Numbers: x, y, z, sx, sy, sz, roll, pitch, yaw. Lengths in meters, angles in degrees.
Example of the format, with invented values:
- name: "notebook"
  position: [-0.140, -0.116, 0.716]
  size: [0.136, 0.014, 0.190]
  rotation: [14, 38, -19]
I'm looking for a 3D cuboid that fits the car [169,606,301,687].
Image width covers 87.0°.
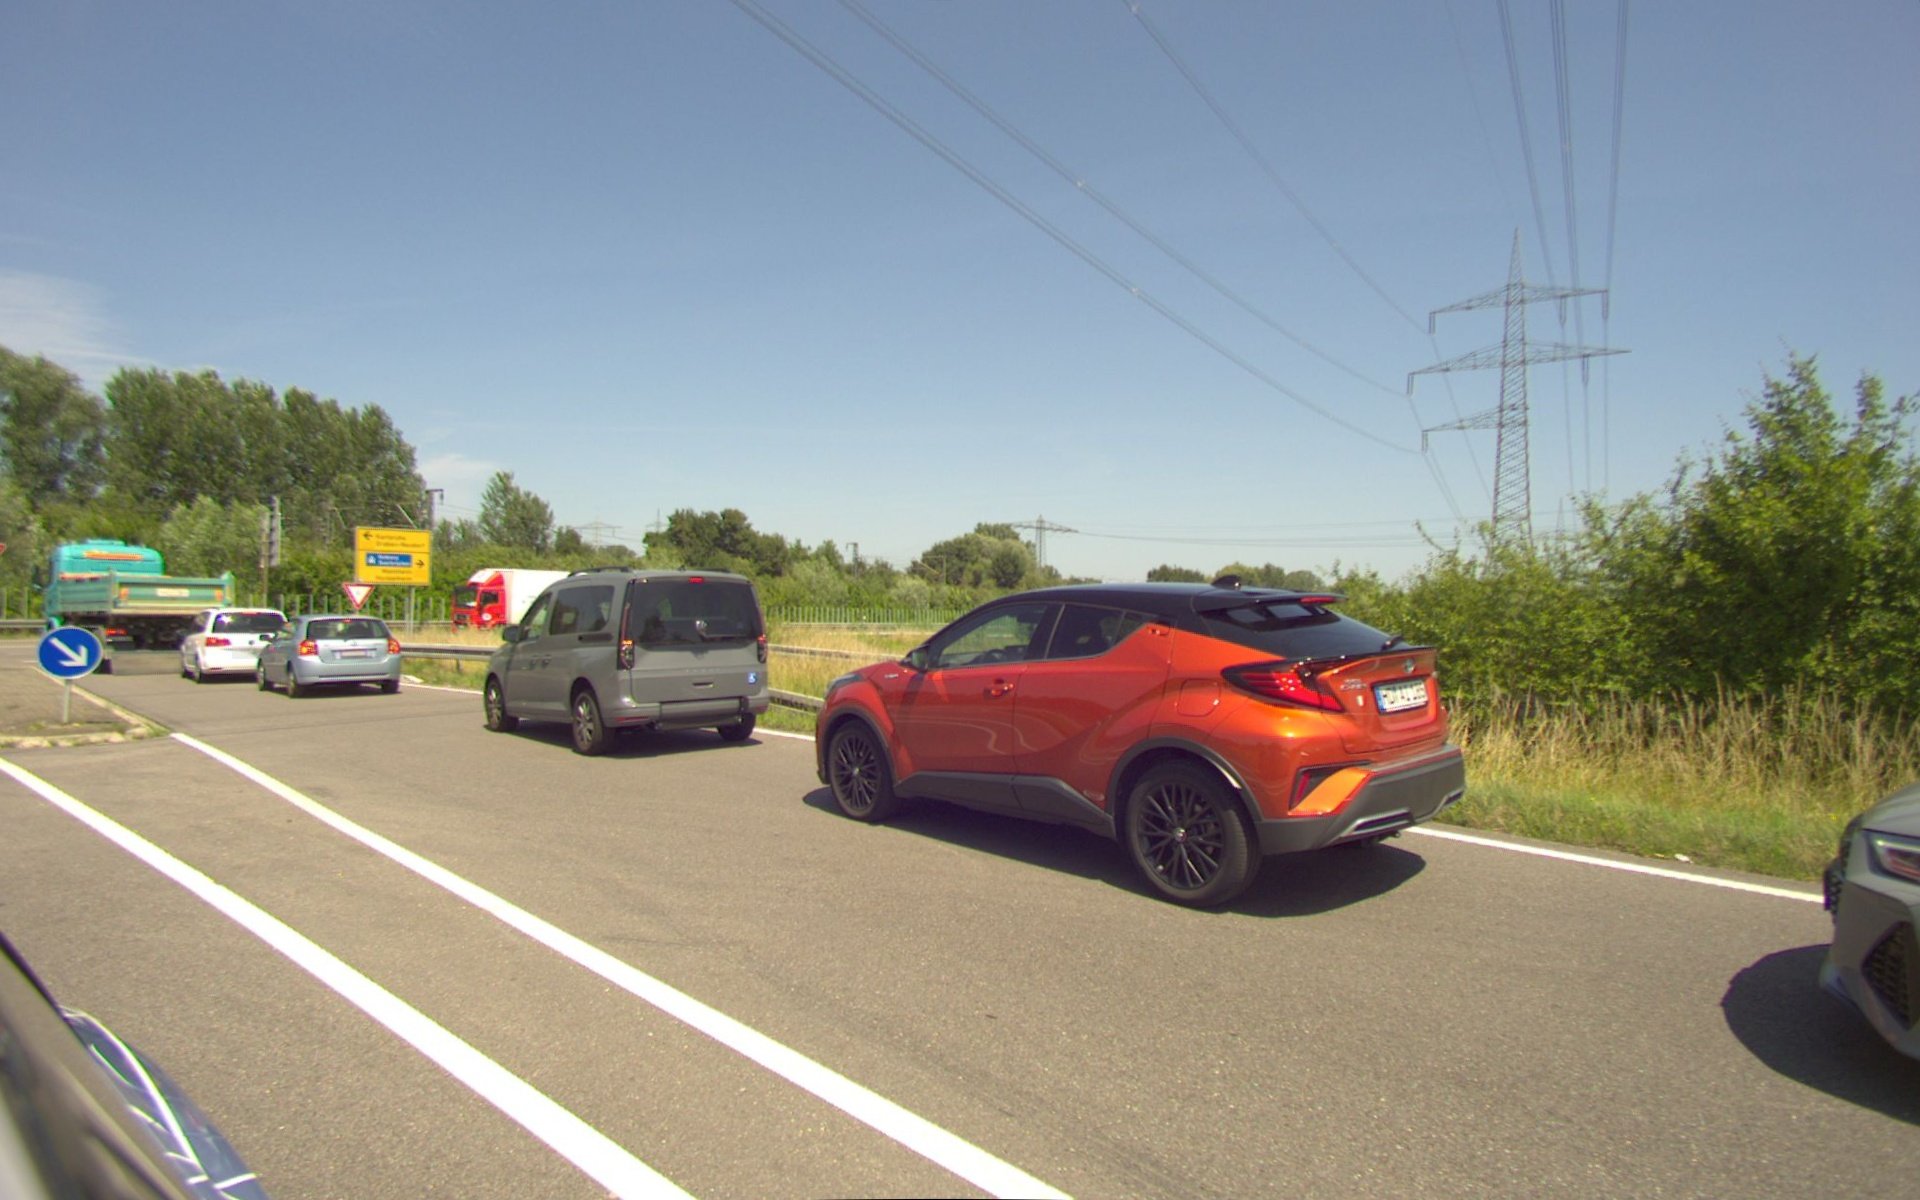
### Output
- name: "car"
  position: [-16.406, 0.998, 22.821]
  size: [1.752, 1.633, 4.333]
  rotation: [-1, -1, -45]

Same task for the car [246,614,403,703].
- name: "car"
  position: [-11.799, 1.012, 18.684]
  size: [1.613, 1.470, 4.010]
  rotation: [1, -2, -45]

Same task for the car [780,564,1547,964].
- name: "car"
  position: [0.812, 0.611, 6.124]
  size: [1.776, 1.527, 4.399]
  rotation: [-2, 1, -40]

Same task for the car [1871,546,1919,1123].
- name: "car"
  position: [4.623, 0.596, 1.389]
  size: [1.818, 1.471, 4.817]
  rotation: [0, 0, -40]

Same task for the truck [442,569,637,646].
- name: "truck"
  position: [-21.319, 0.337, 52.078]
  size: [2.717, 3.606, 9.451]
  rotation: [0, 0, 32]

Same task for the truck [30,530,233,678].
- name: "truck"
  position: [-22.480, 0.162, 27.310]
  size: [7.599, 3.498, 2.577]
  rotation: [-1, -2, 38]

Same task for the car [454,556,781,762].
- name: "car"
  position: [-4.012, 0.605, 11.385]
  size: [1.902, 1.846, 4.444]
  rotation: [2, -3, -42]
